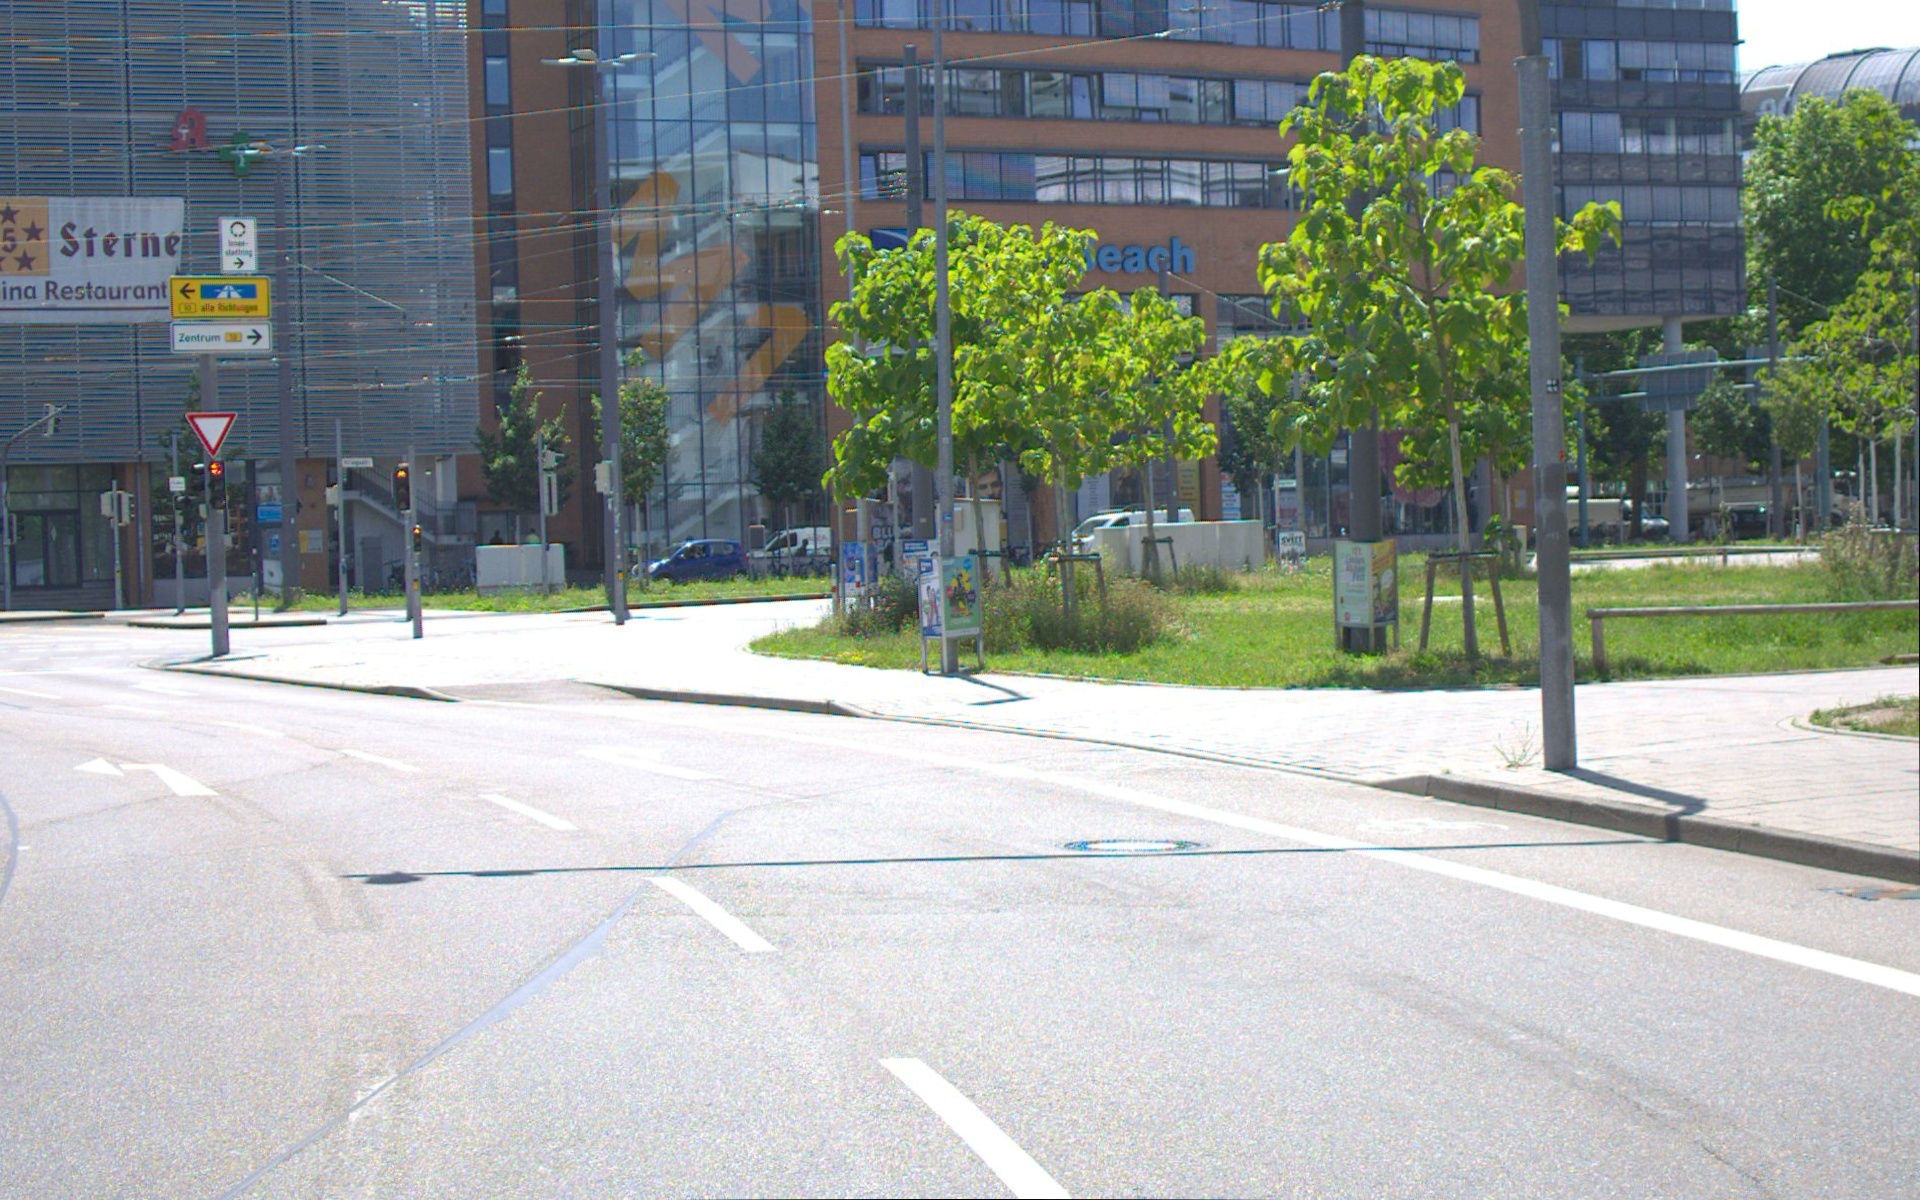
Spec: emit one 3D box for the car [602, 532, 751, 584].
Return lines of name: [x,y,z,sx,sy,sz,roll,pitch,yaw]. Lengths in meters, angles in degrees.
car: [-8.308,-1.238,100.681,3.986,1.437,1.744,-1,1,-25]

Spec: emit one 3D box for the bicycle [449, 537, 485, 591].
bicycle: [-16.151,-1.187,112.580,0.598,1.725,2.261,-1,1,-23]

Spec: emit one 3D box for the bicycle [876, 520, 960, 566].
bicycle: [-1.464,-1.997,119.830,2.848,1.552,0.705,-1,1,-21]

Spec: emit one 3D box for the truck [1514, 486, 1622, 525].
truck: [31.777,-4.940,179.806,5.376,2.007,1.878,1,2,41]

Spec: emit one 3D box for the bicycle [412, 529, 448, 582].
bicycle: [-17.329,-1.464,112.311,0.598,1.725,2.261,-1,1,-23]

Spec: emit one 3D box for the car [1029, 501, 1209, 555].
car: [5.075,-2.290,109.258,5.462,1.662,2.000,-1,1,-29]

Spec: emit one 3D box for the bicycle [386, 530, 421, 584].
bicycle: [-18.132,-1.401,111.962,0.598,1.725,2.261,-1,1,-23]

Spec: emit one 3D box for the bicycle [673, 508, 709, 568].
bicycle: [-9.163,-2.110,117.020,0.484,2.007,2.347,-1,1,-22]

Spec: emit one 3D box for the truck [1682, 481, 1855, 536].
truck: [42.712,-4.806,181.929,1.995,2.799,9.234,-2,2,-45]

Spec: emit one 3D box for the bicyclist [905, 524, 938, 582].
bicyclist: [-1.339,-1.626,119.899,0.912,2.007,0.748,-1,1,-22]
